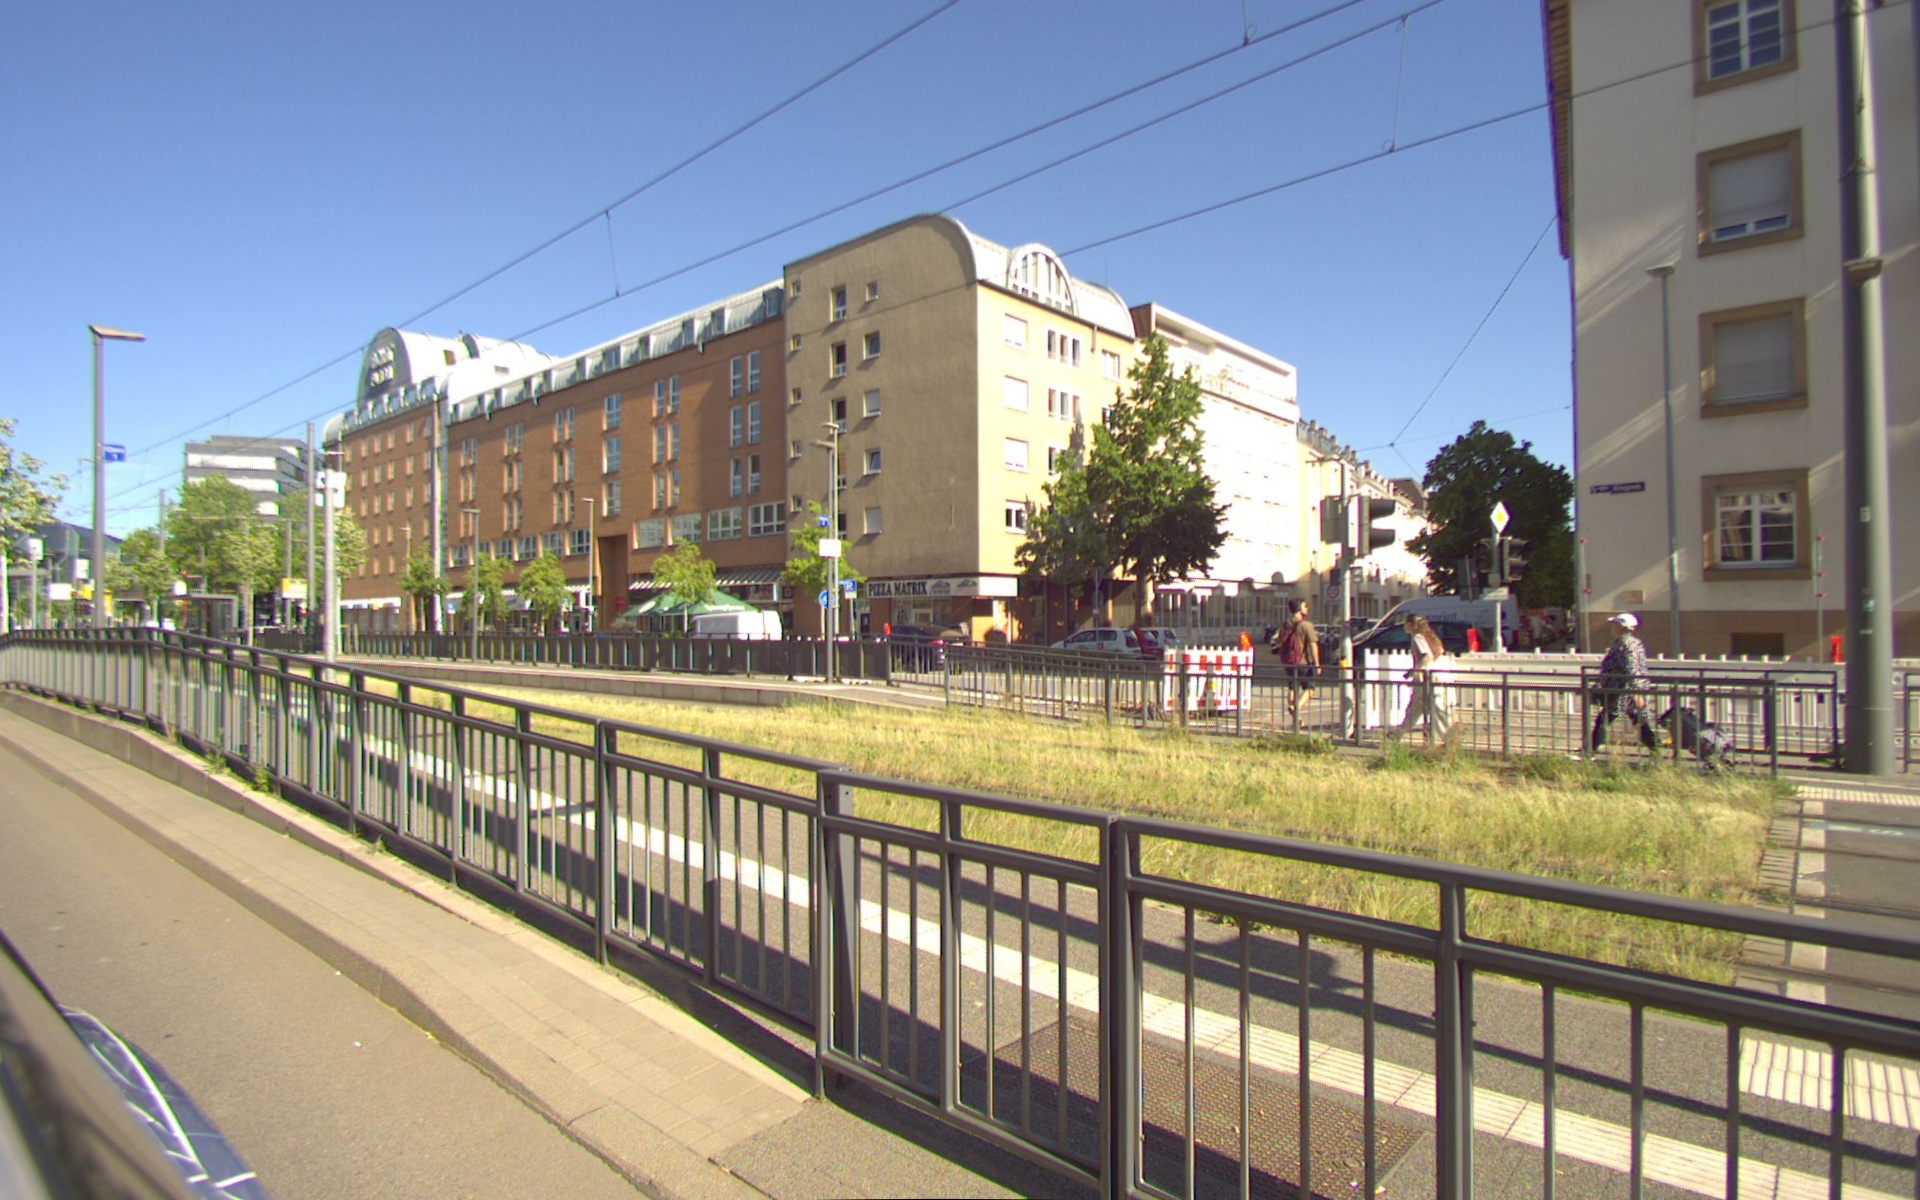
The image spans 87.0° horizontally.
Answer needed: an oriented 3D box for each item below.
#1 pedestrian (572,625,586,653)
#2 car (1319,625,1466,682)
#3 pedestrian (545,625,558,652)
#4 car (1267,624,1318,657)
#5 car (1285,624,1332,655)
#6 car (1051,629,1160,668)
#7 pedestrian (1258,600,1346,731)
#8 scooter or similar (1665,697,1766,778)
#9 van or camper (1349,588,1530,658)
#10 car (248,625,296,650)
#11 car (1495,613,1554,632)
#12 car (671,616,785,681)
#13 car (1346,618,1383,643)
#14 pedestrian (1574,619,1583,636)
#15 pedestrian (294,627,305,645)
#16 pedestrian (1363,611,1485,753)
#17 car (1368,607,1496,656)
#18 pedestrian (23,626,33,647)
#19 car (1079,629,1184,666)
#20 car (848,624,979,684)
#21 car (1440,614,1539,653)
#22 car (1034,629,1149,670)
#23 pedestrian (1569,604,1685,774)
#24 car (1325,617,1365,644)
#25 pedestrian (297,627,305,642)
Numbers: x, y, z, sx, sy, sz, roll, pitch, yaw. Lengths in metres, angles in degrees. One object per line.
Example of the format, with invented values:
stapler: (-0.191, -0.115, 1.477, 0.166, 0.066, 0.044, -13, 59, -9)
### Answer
pedestrian: (-24.828, 2.528, 65.991, 0.644, 1.854, 0.614, -2, -2, 41)
car: (12.425, 1.512, 29.126, 3.662, 1.533, 1.673, -1, -2, 32)
pedestrian: (-28.188, 2.629, 69.825, 0.644, 1.854, 0.614, -2, -2, 39)
car: (17.659, 2.121, 53.675, 1.947, 1.674, 3.962, -1, -2, 28)
car: (19.895, 2.225, 57.666, 1.947, 1.674, 3.962, -1, -2, 28)
car: (5.820, 1.921, 40.476, 3.980, 1.462, 1.768, -1, -2, 28)
pedestrian: (4.882, 0.902, 14.441, 0.909, 1.794, 0.856, -2, -1, 41)
scooter or similar: (7.065, 1.272, 9.471, 0.709, 0.656, 0.509, -2, -1, 41)
van or camper: (17.752, 0.873, 37.601, 5.933, 2.419, 1.979, -1, -2, 30)
car: (-50.866, 2.772, 74.802, 3.998, 1.696, 1.973, -1, 0, 41)
car: (44.238, 1.789, 79.328, 3.853, 1.472, 1.740, -1, -2, 24)
car: (-9.314, 1.880, 40.216, 1.969, 2.388, 5.653, 0, -2, -41)
car: (28.094, 2.098, 70.198, 1.947, 1.674, 3.962, -1, -2, 28)
pedestrian: (65.119, 2.906, 106.583, 0.687, 1.768, 0.807, -2, -2, 34)
pedestrian: (-67.031, 3.654, 102.708, 0.779, 1.769, 0.706, -2, -2, 43)
pedestrian: (5.341, 0.907, 11.681, 0.893, 1.548, 0.870, -1, -1, -24)
car: (15.593, 1.046, 33.481, 3.654, 1.533, 1.673, -1, -2, 32)
pedestrian: (-71.361, 2.829, 77.487, 0.601, 1.581, 0.910, 0, -2, -43)
car: (7.187, 1.964, 42.484, 3.980, 1.462, 1.768, -1, -2, 28)
car: (-1.514, 1.666, 32.029, 3.997, 1.773, 1.796, -2, -2, 40)
car: (25.220, 1.585, 48.207, 3.990, 1.789, 1.722, -1, -2, 35)
car: (5.003, 1.870, 38.589, 3.980, 1.462, 1.768, -1, -2, 28)
pedestrian: (6.484, 0.821, 9.834, 0.815, 1.548, 0.787, -2, -1, 41)
car: (24.978, 1.969, 65.661, 1.947, 1.674, 3.962, -1, -2, 28)
pedestrian: (-73.408, 3.815, 112.776, 0.637, 1.622, 0.728, 1, -2, -45)
